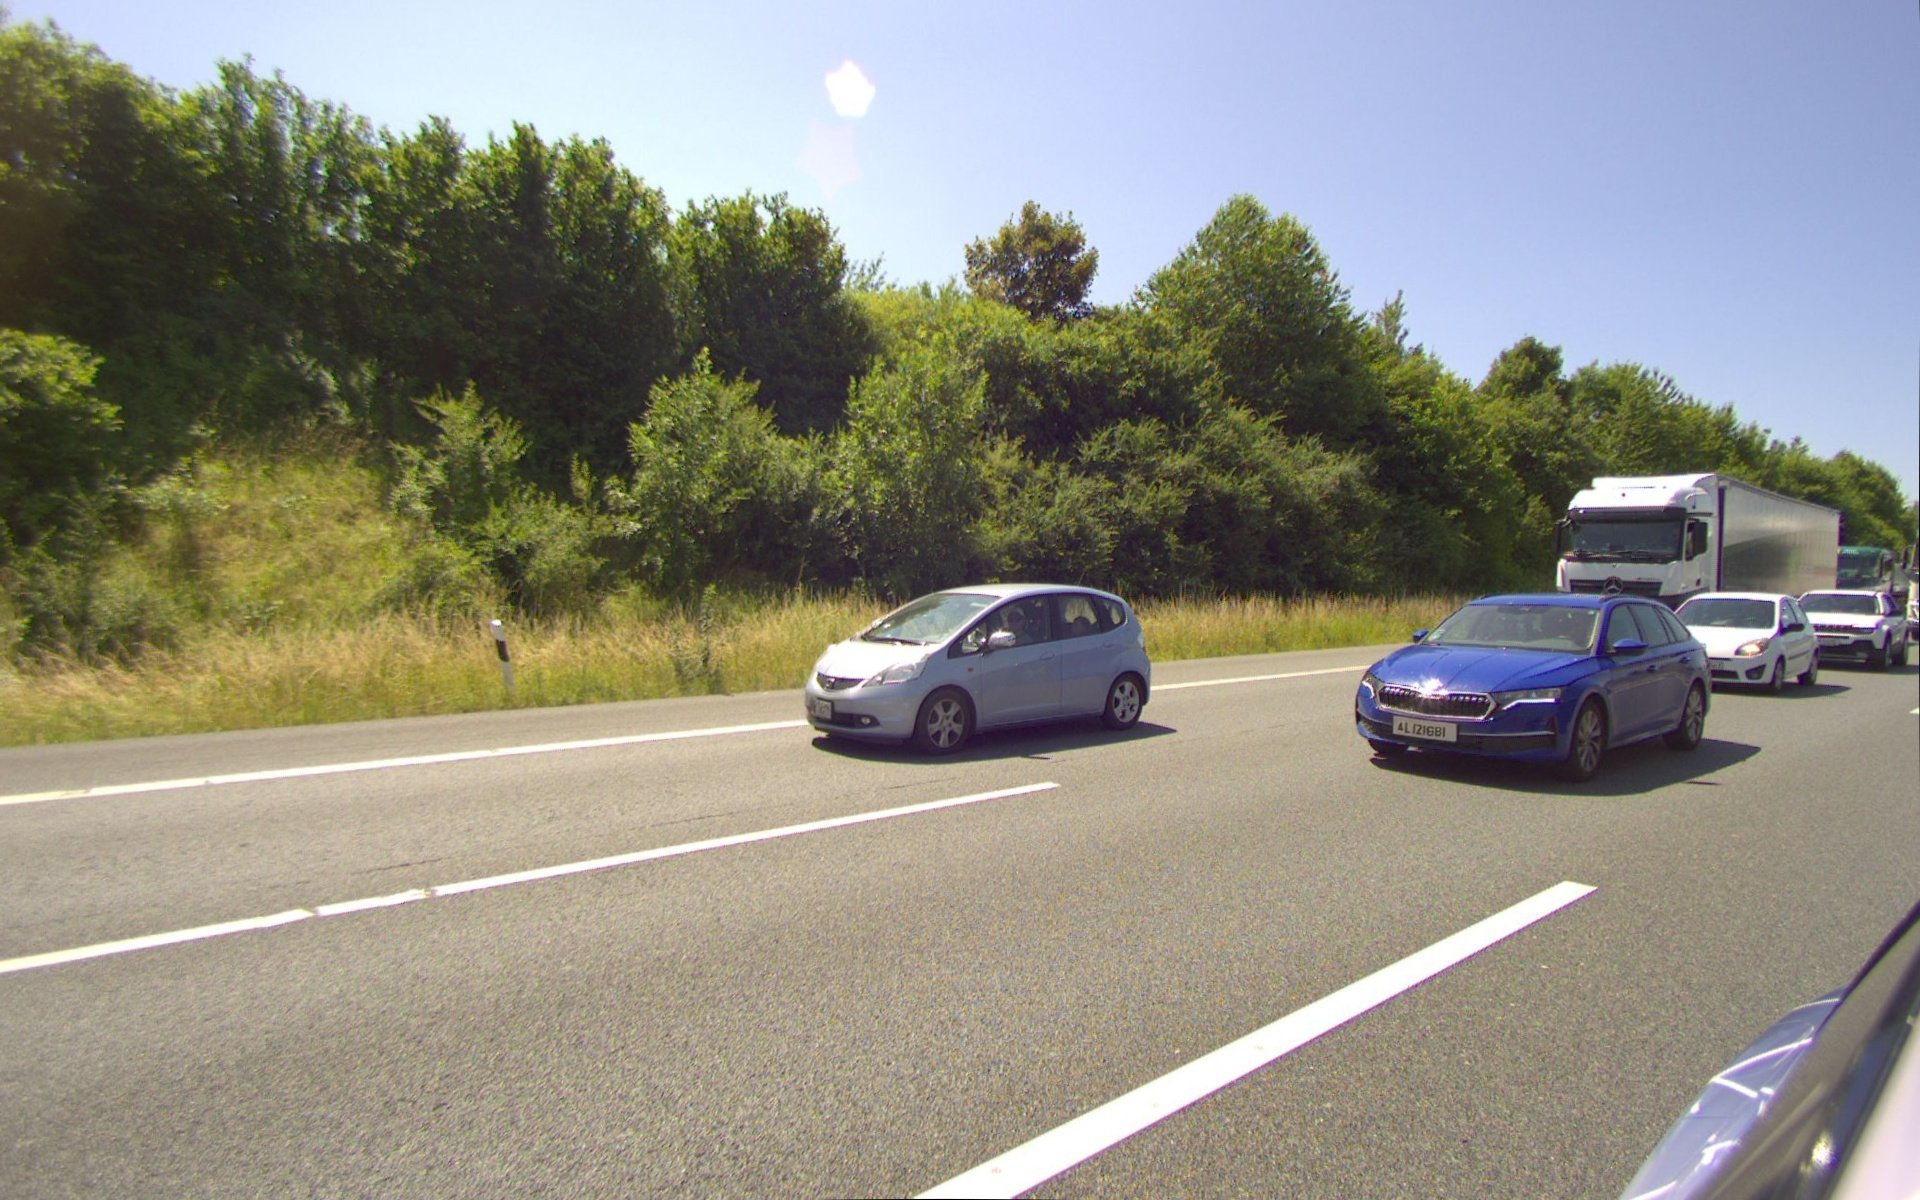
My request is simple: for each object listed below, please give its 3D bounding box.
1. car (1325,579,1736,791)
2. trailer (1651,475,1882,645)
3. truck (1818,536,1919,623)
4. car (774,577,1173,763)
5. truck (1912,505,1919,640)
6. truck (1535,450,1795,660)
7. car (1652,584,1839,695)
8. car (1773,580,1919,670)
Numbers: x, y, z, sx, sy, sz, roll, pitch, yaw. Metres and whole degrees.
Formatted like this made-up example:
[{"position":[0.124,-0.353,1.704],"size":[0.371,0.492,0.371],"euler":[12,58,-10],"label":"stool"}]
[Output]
[{"position":[5.372,0.554,9.262],"size":[4.491,1.434,1.780],"euler":[-1,3,-40],"label":"car"},{"position":[24.128,-1.077,29.905],"size":[11.859,4.208,2.879],"euler":[-1,1,-39],"label":"trailer"},{"position":[35.952,-0.815,39.871],"size":[5.573,3.185,2.299],"euler":[-1,1,-39],"label":"truck"},{"position":[0.252,0.542,10.143],"size":[3.853,1.479,1.665],"euler":[-1,2,-41],"label":"car"},{"position":[32.756,-0.860,32.020],"size":[8.210,4.044,2.750],"euler":[-1,1,-39],"label":"truck"},{"position":[16.972,-0.973,24.080],"size":[8.322,4.208,2.880],"euler":[-1,1,-39],"label":"truck"},{"position":[12.329,0.523,15.809],"size":[3.744,1.451,1.608],"euler":[-1,3,-41],"label":"car"},{"position":[18.049,0.423,20.465],"size":[3.816,1.577,1.748],"euler":[-1,3,-40],"label":"car"}]
